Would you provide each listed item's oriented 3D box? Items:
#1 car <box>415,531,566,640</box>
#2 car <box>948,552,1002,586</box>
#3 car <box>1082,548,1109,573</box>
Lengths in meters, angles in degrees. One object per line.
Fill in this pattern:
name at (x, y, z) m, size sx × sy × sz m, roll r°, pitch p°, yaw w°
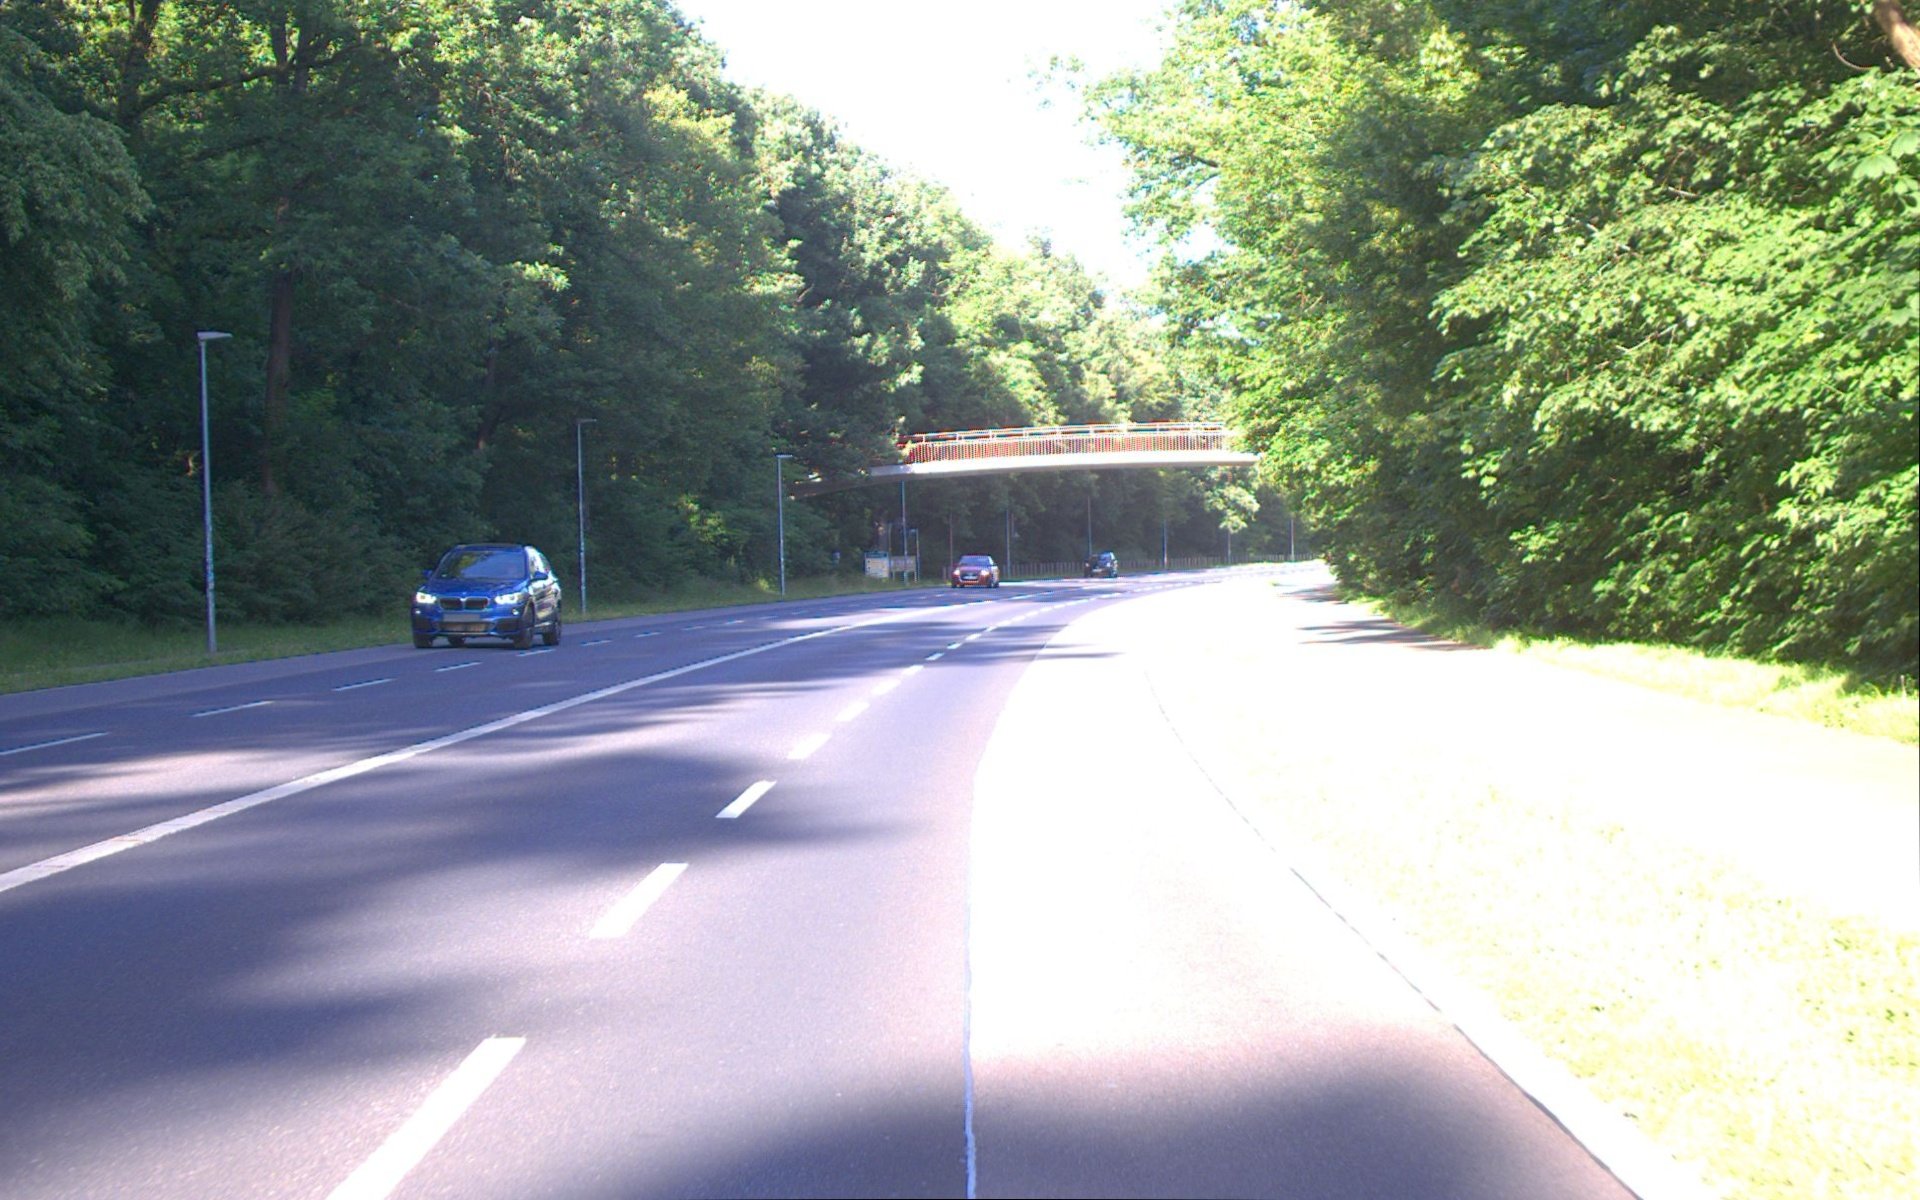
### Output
car at (-7.440, -0.249, 54.815) m, size 1.807 × 1.657 × 4.522 m, roll 0°, pitch 1°, yaw 0°
car at (0.673, -1.361, 148.217) m, size 1.710 × 1.418 × 4.129 m, roll 0°, pitch 1°, yaw 9°
car at (7.832, -2.270, 198.083) m, size 1.495 × 1.439 × 3.500 m, roll 0°, pitch 1°, yaw 3°
